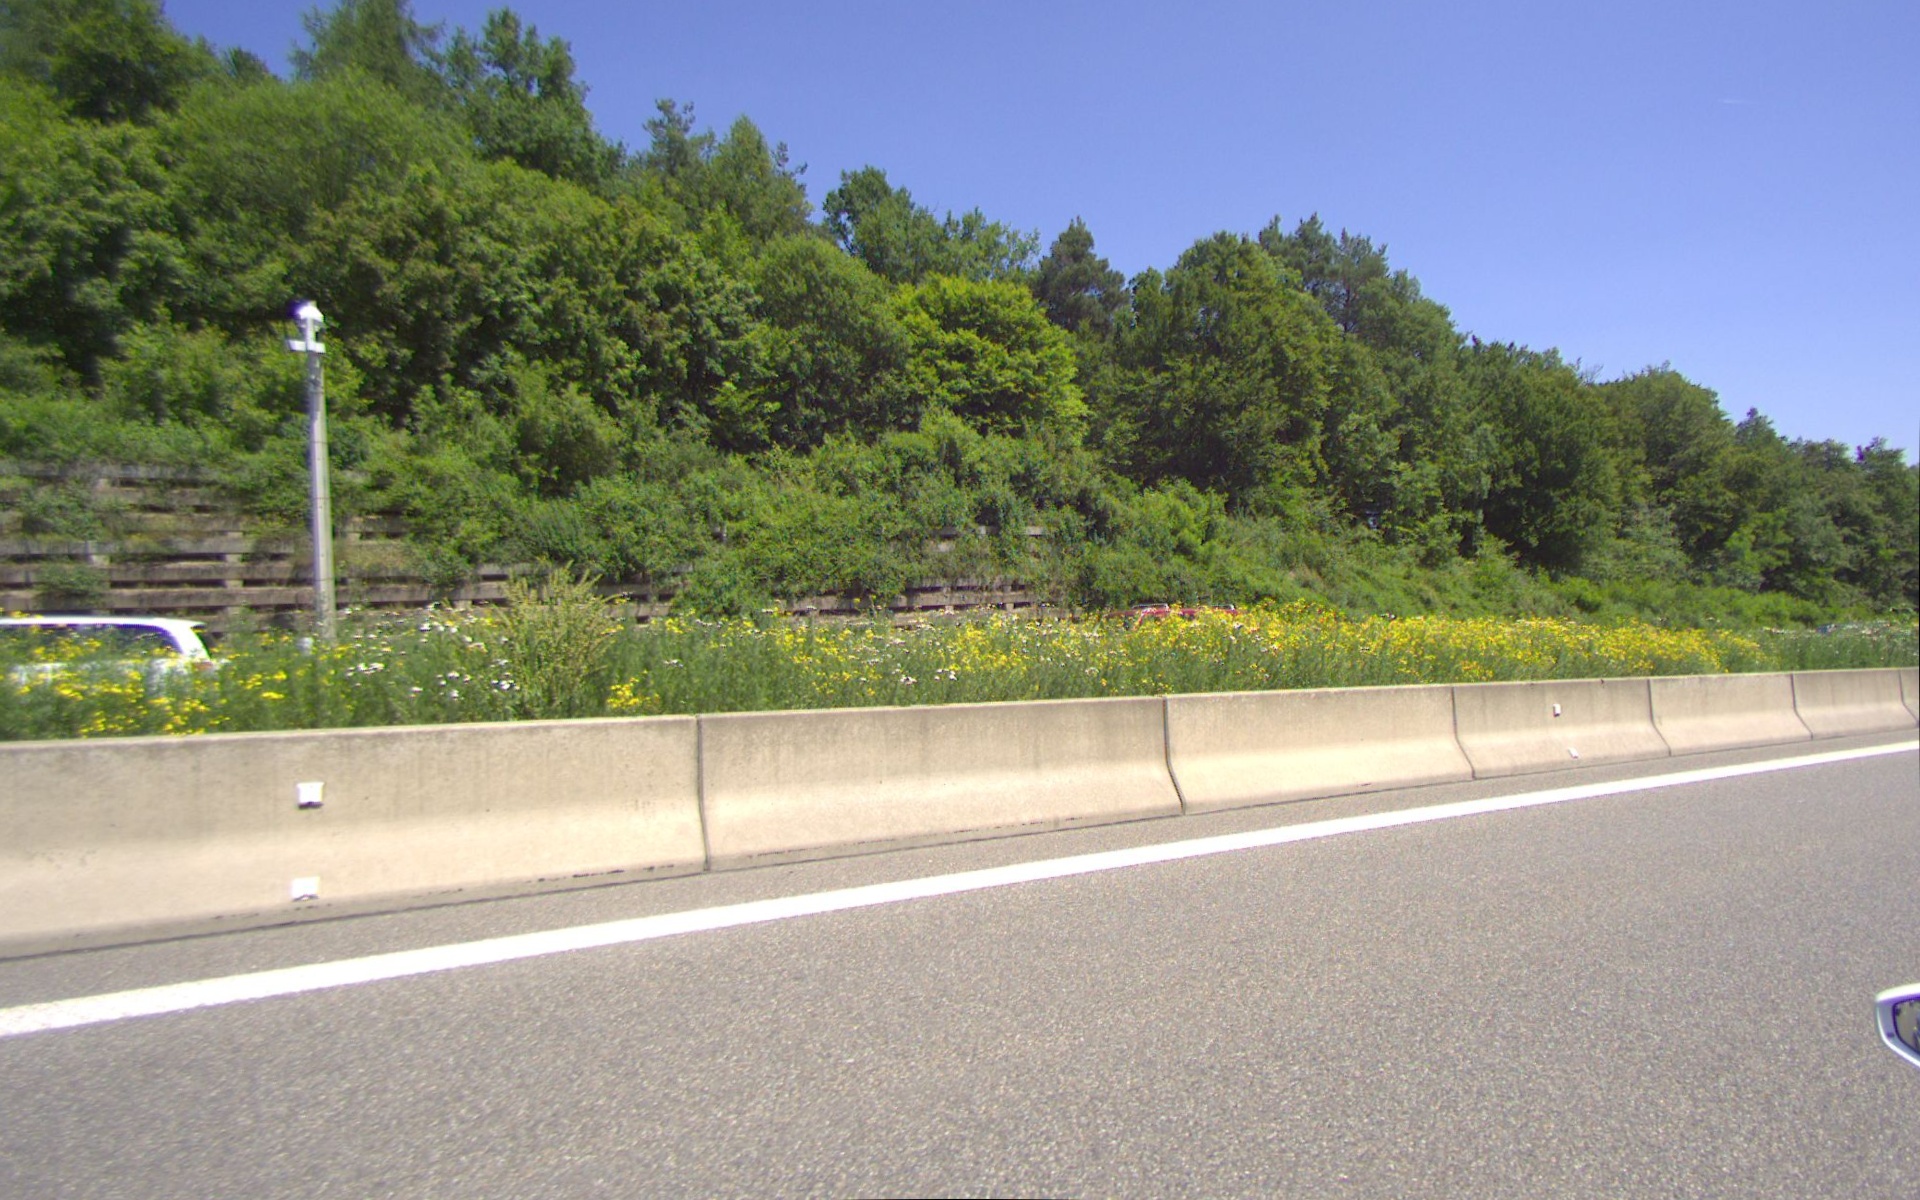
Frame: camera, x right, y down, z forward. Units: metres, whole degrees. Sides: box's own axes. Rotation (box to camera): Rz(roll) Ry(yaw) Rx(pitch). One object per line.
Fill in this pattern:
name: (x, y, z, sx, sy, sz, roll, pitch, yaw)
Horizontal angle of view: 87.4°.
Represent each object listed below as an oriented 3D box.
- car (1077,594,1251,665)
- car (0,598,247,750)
car: (5.765, 0.829, 28.297, 4.598, 1.832, 1.985, 2, 1, -29)
car: (-12.295, 0.932, 13.275, 4.447, 1.832, 1.802, 2, 1, -29)
